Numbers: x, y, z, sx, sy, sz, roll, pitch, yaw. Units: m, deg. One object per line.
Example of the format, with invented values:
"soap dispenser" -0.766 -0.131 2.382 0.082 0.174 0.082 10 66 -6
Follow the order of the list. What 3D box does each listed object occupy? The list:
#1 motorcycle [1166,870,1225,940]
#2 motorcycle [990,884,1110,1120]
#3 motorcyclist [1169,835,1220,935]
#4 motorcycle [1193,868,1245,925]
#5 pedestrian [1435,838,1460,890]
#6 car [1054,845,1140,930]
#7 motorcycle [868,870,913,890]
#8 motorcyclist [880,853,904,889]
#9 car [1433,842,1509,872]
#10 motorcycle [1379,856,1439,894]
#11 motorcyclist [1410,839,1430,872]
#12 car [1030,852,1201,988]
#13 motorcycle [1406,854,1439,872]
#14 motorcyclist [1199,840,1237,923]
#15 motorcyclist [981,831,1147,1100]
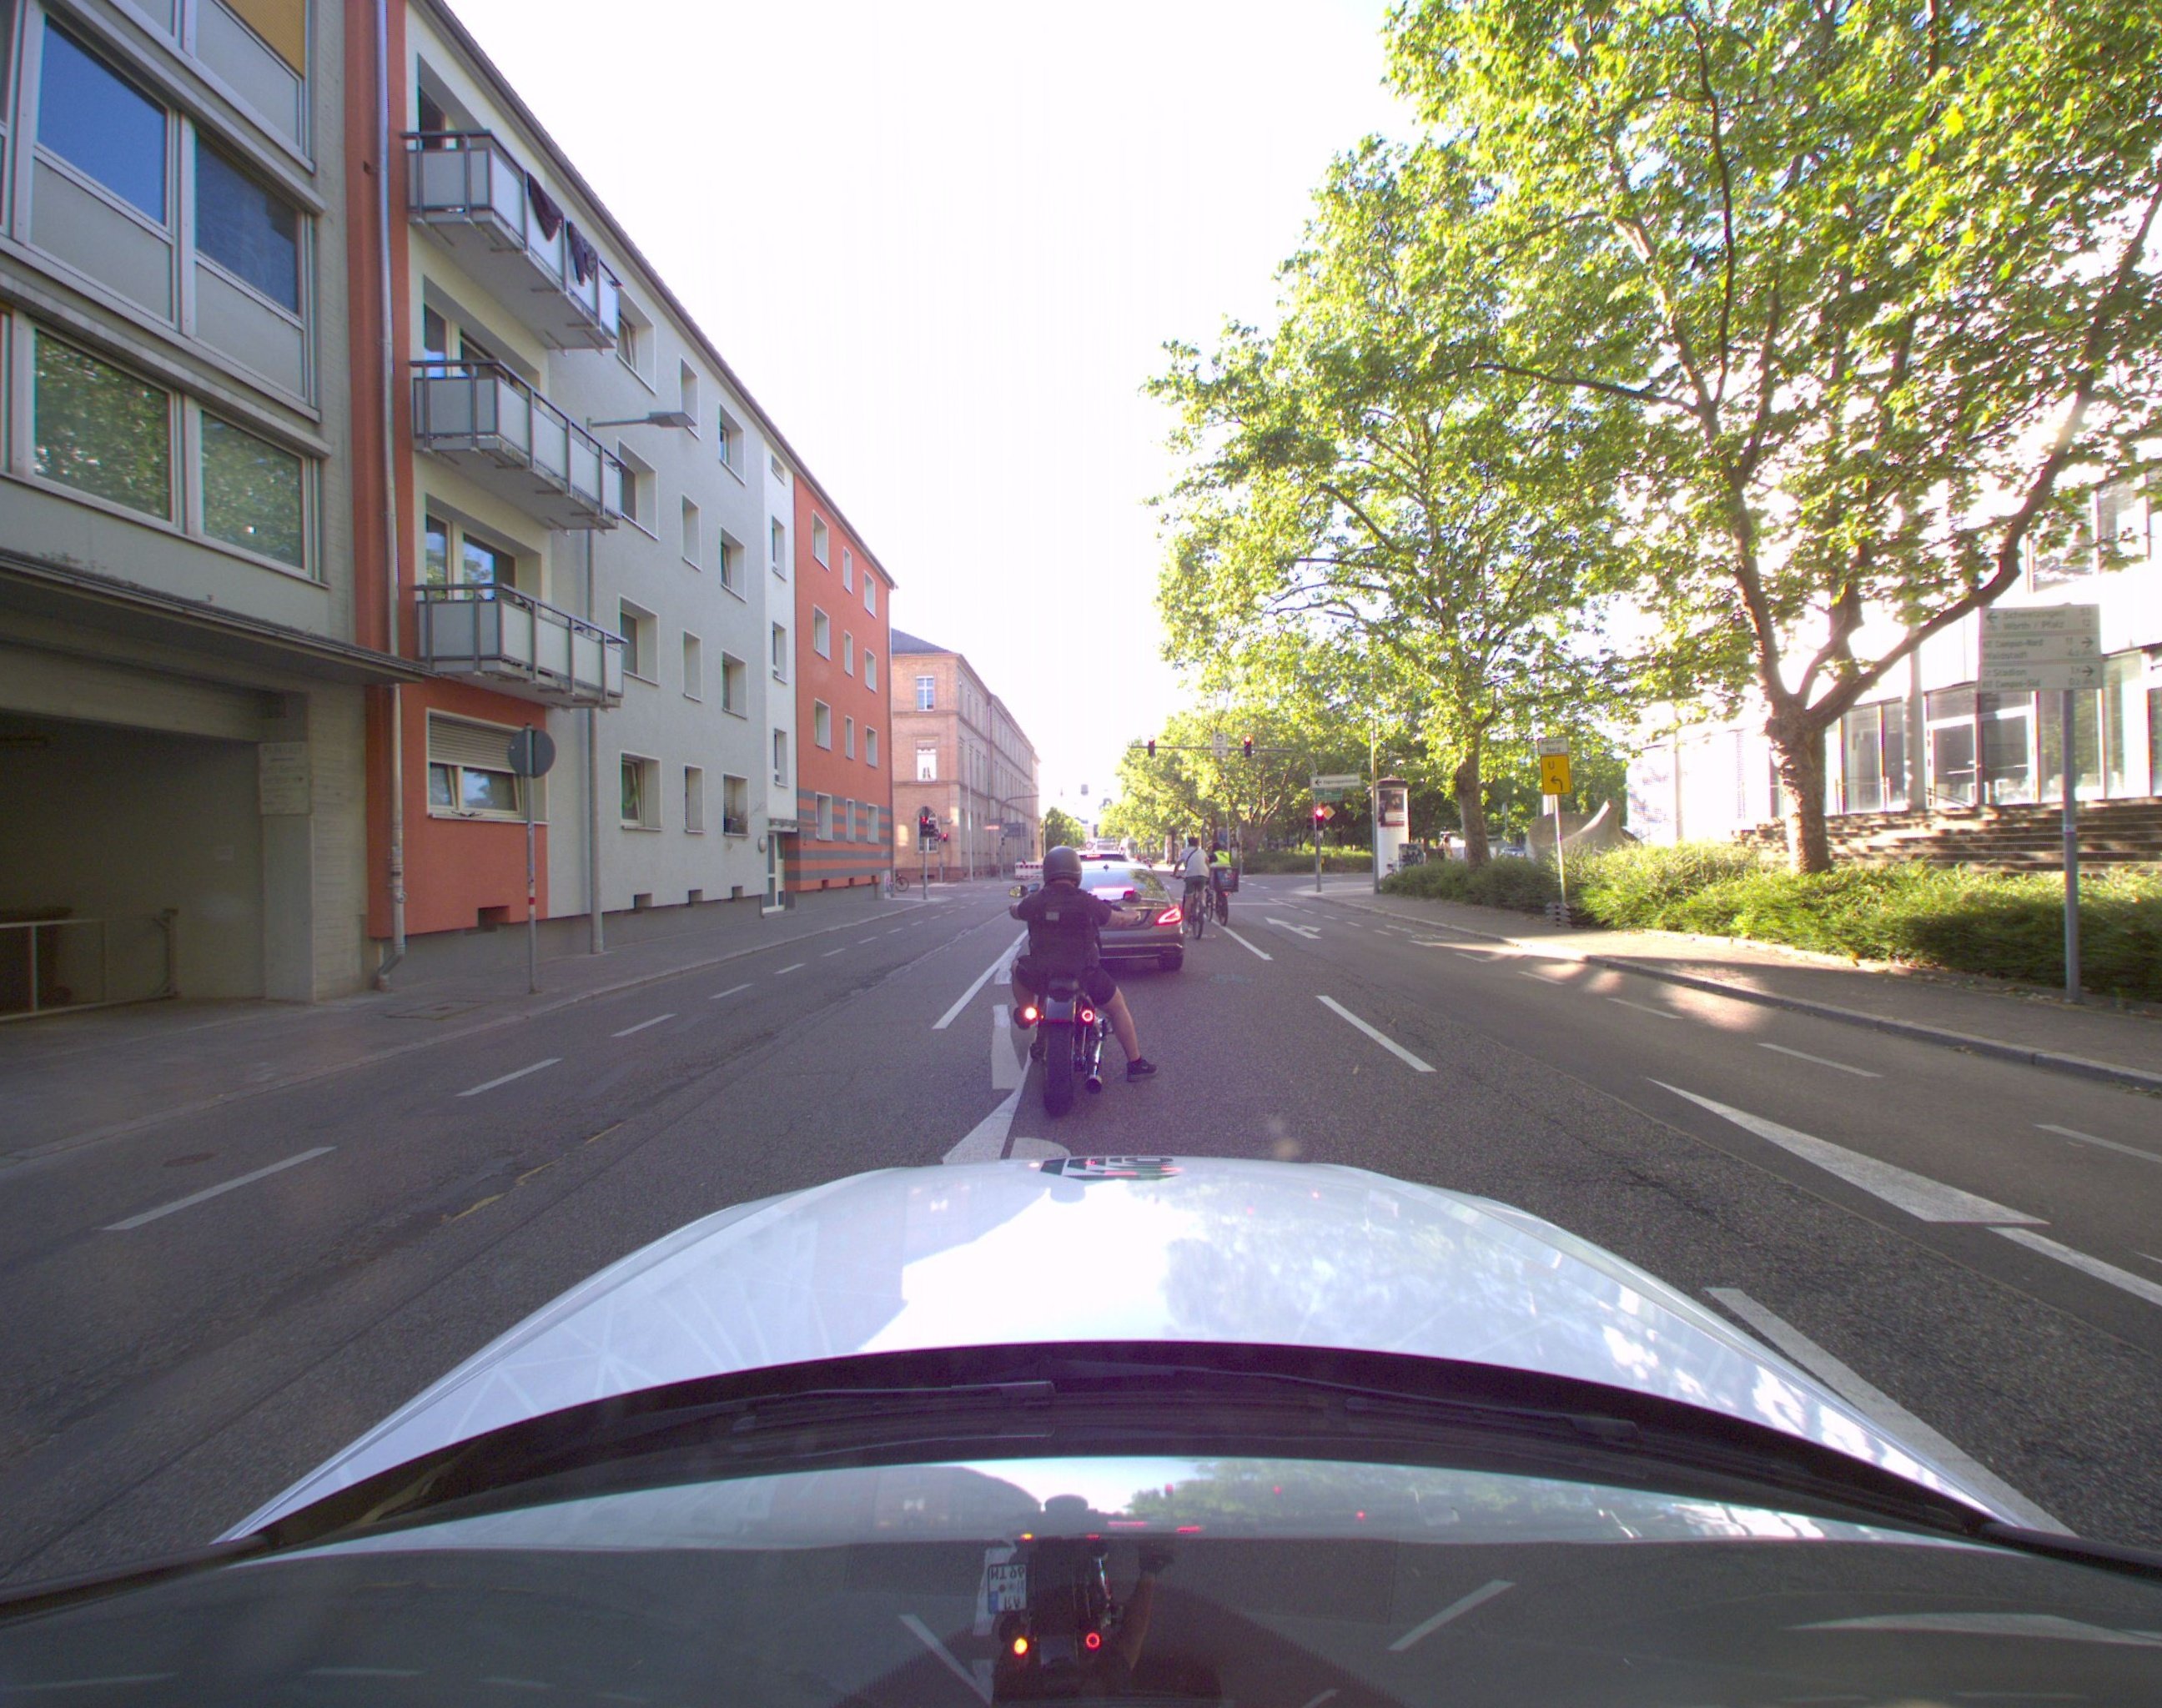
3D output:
"motorcycle" 2.066 0.897 14.910 0.859 1.168 1.930 0 -1 2
"motorcycle" -0.141 0.858 5.540 0.657 1.240 2.058 0 -1 2
"motorcyclist" 2.080 0.559 15.075 0.828 1.788 0.913 0 -1 1
"motorcycle" 2.953 0.875 17.635 0.794 1.131 2.237 0 -1 2
"pedestrian" 12.966 0.349 28.824 0.643 1.827 0.669 -1 0 11
"car" 0.376 0.667 17.807 1.645 1.652 4.002 0 -1 2
"motorcycle" -9.108 1.241 38.978 2.001 0.962 0.581 0 -1 6
"motorcyclist" -9.059 0.810 38.978 0.980 1.722 0.551 0 -1 6
"car" 24.629 0.204 51.522 3.974 1.772 1.738 -1 0 -1
"motorcycle" 11.071 0.712 27.543 1.771 1.243 0.724 0 -1 7
"motorcyclist" 19.576 0.099 47.000 0.978 1.876 0.377 -1 -1 6
"car" 0.261 0.746 11.243 1.821 1.486 4.325 0 0 -5
"motorcycle" 19.683 0.536 47.000 1.710 1.002 0.416 -1 0 6
"motorcyclist" 2.949 0.586 17.583 0.714 1.743 0.751 0 -1 1
"motorcyclist" -0.088 0.673 5.448 0.986 1.611 1.121 0 -1 1
